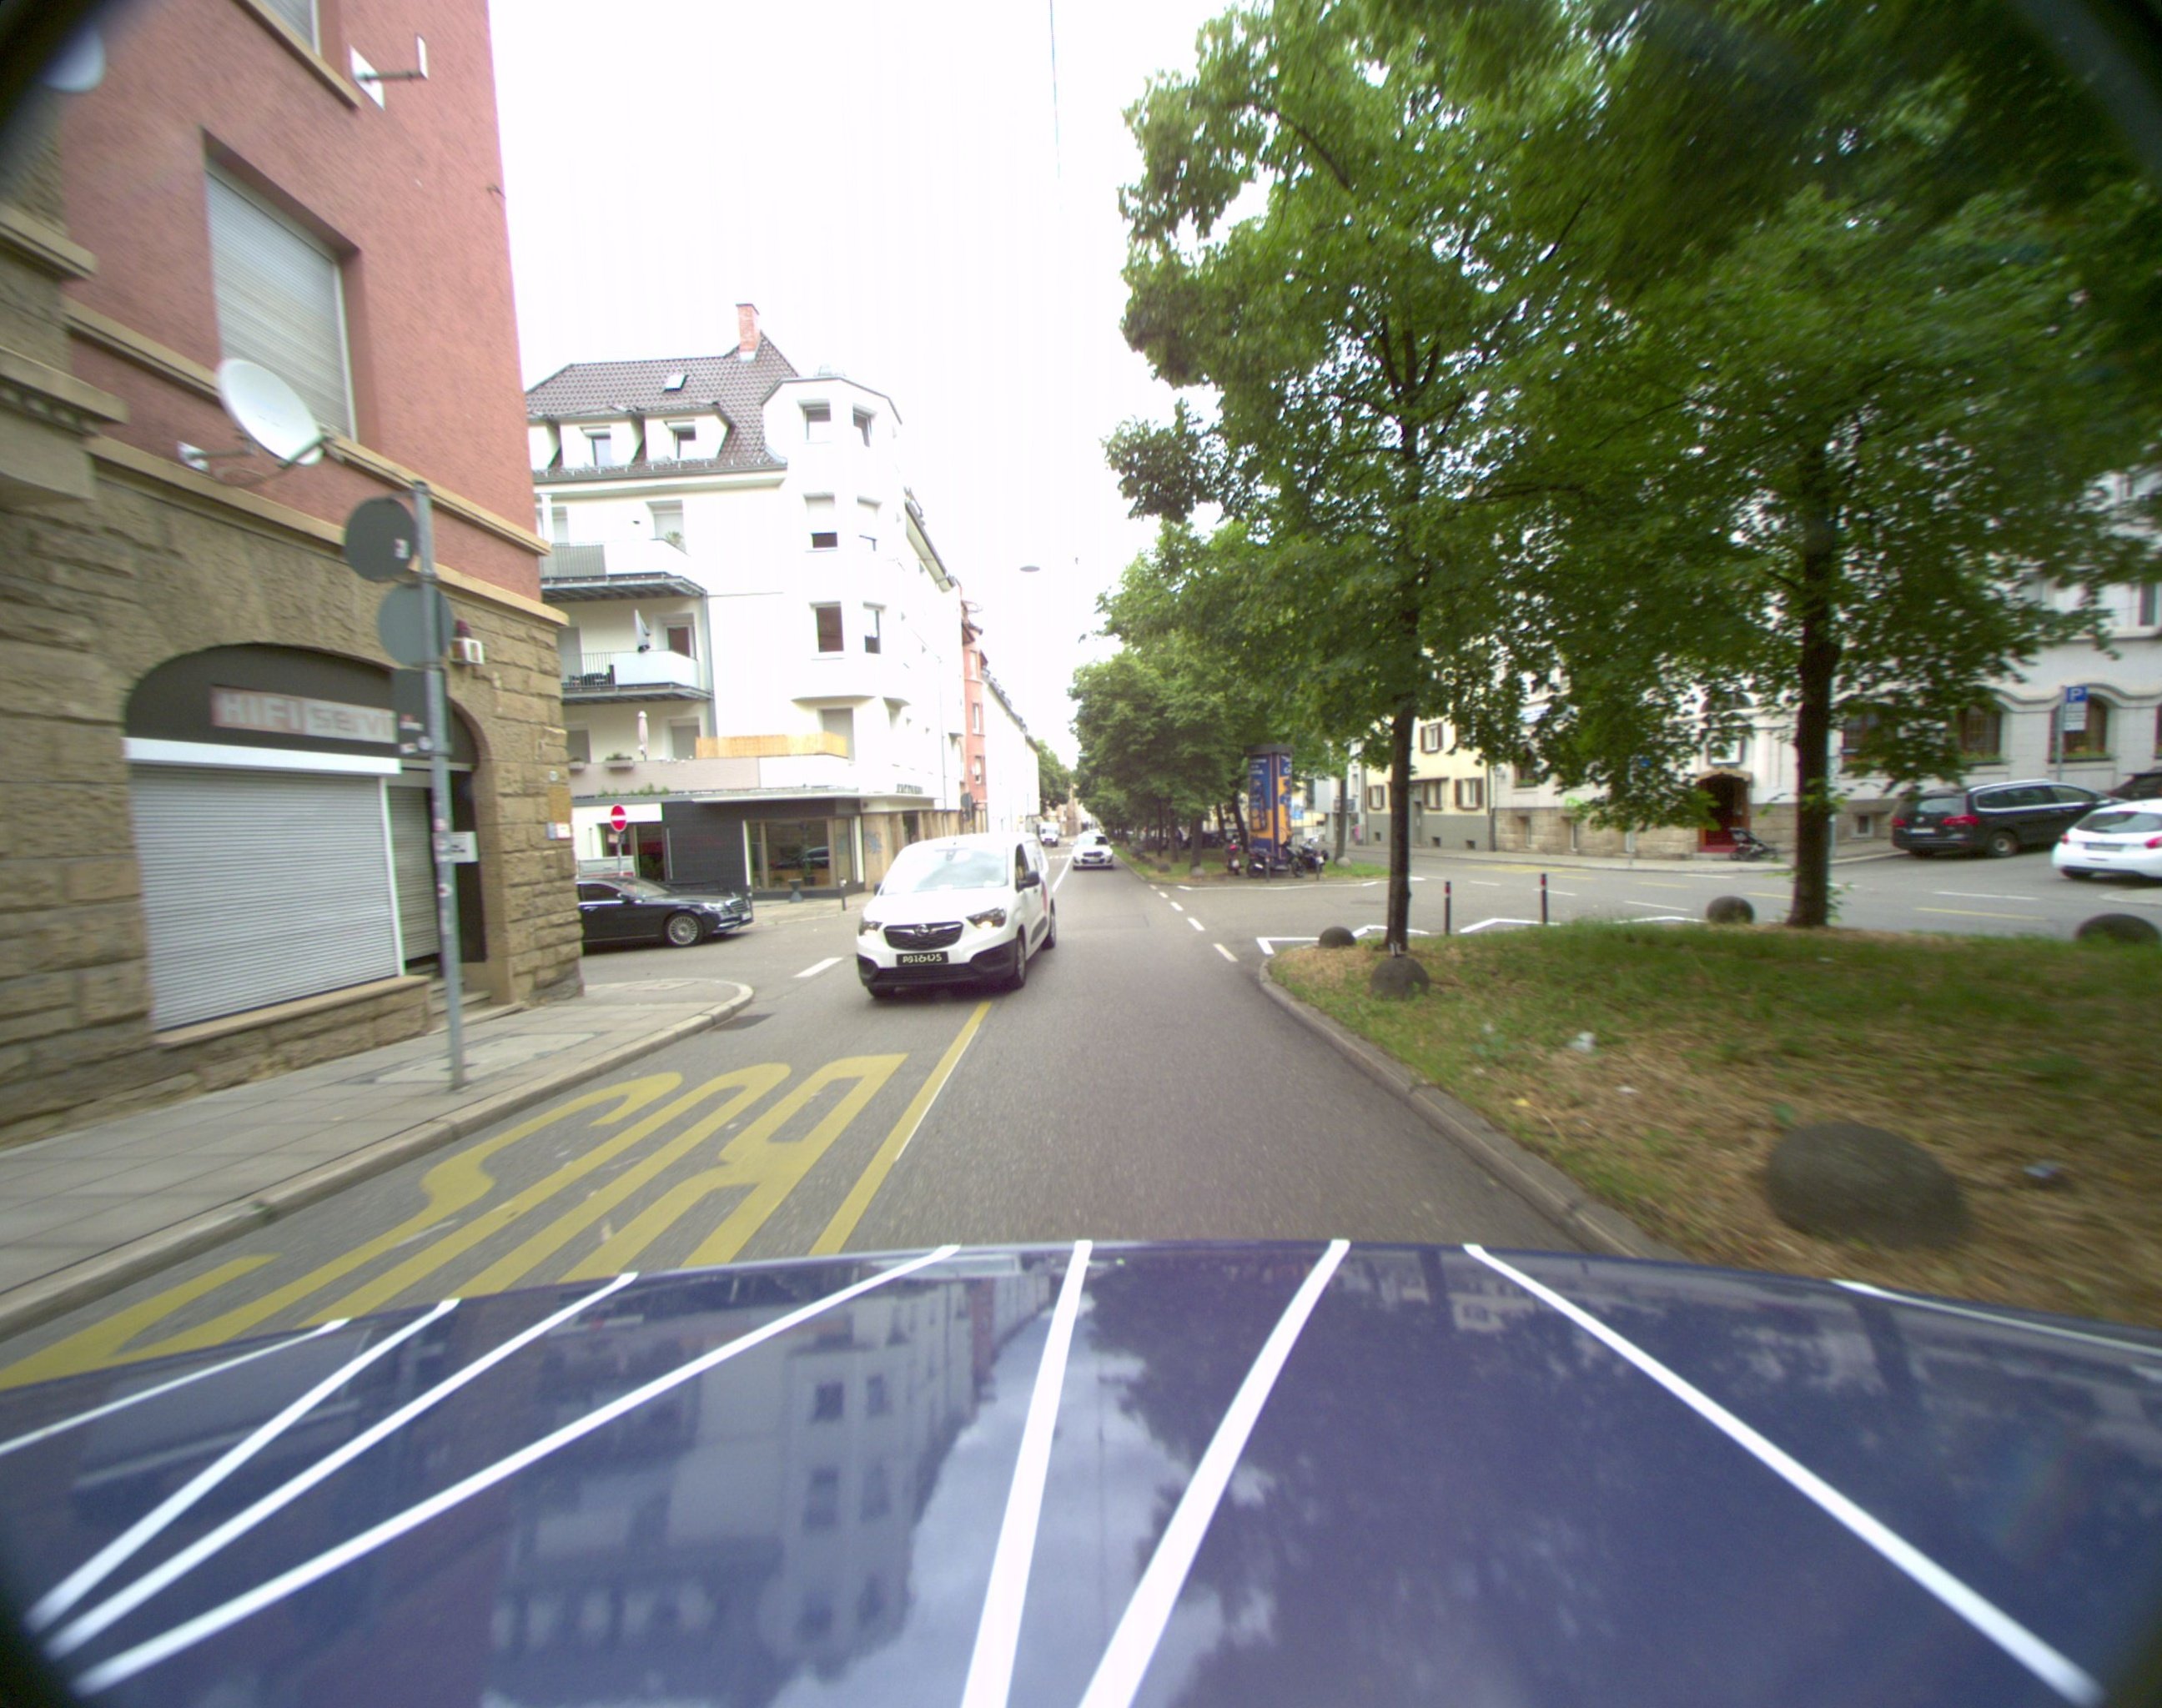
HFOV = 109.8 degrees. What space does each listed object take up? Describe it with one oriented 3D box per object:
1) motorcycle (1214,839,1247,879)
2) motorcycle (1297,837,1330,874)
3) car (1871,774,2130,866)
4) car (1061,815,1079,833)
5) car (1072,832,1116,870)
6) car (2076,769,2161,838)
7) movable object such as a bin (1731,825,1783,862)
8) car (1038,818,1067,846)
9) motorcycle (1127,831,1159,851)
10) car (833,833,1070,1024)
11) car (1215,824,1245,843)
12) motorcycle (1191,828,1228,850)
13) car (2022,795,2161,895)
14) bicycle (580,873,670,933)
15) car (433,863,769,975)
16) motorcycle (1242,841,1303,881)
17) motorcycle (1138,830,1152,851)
[{"bbox_3d":[4.925,0.138,25.096,0.888,1.090,2.481,-2,4,8],"label":"motorcycle"},{"bbox_3d":[7.647,0.040,25.062,0.750,1.068,1.851,-2,4,8],"label":"motorcycle"},{"bbox_3d":[22.679,-0.840,18.869,4.007,1.690,1.871,-7,2,1],"label":"car"},{"bbox_3d":[-1.982,-5.370,134.573,3.026,3.045,7.164,-2,3,0],"label":"car"},{"bbox_3d":[0.625,-0.201,34.907,1.854,1.595,4.562,-2,2,2],"label":"car"},{"bbox_3d":[27.966,-1.402,18.808,3.996,1.502,1.800,-7,2,5],"label":"car"},{"bbox_3d":[19.363,-0.306,21.777,0.888,0.988,0.668,-5,2,-1],"label":"movable object such as a bin"},{"bbox_3d":[-3.271,-2.649,88.987,3.026,3.045,7.164,-2,3,0],"label":"car"},{"bbox_3d":[4.007,-0.841,49.230,2.041,1.126,0.453,-3,5,1],"label":"motorcycle"},{"bbox_3d":[-1.370,0.712,10.287,1.853,1.815,5.020,-3,2,5],"label":"car"},{"bbox_3d":[12.878,-1.787,65.852,1.818,1.554,4.253,-2,2,2],"label":"car"},{"bbox_3d":[8.870,-1.036,52.431,2.424,1.475,0.963,-1,4,1],"label":"motorcycle"},{"bbox_3d":[20.793,-0.295,14.266,4.007,1.462,1.870,-7,4,-2],"label":"car"},{"bbox_3d":[-10.112,1.072,16.900,1.501,1.148,0.632,-3,5,-9],"label":"bicycle"},{"bbox_3d":[-9.370,1.211,15.295,5.141,1.541,2.237,-5,2,-4],"label":"car"},{"bbox_3d":[5.883,0.213,23.424,1.735,1.090,0.550,-3,4,4],"label":"motorcycle"},{"bbox_3d":[4.357,-0.932,51.748,0.454,1.299,1.626,-4,4,-10],"label":"motorcycle"}]
